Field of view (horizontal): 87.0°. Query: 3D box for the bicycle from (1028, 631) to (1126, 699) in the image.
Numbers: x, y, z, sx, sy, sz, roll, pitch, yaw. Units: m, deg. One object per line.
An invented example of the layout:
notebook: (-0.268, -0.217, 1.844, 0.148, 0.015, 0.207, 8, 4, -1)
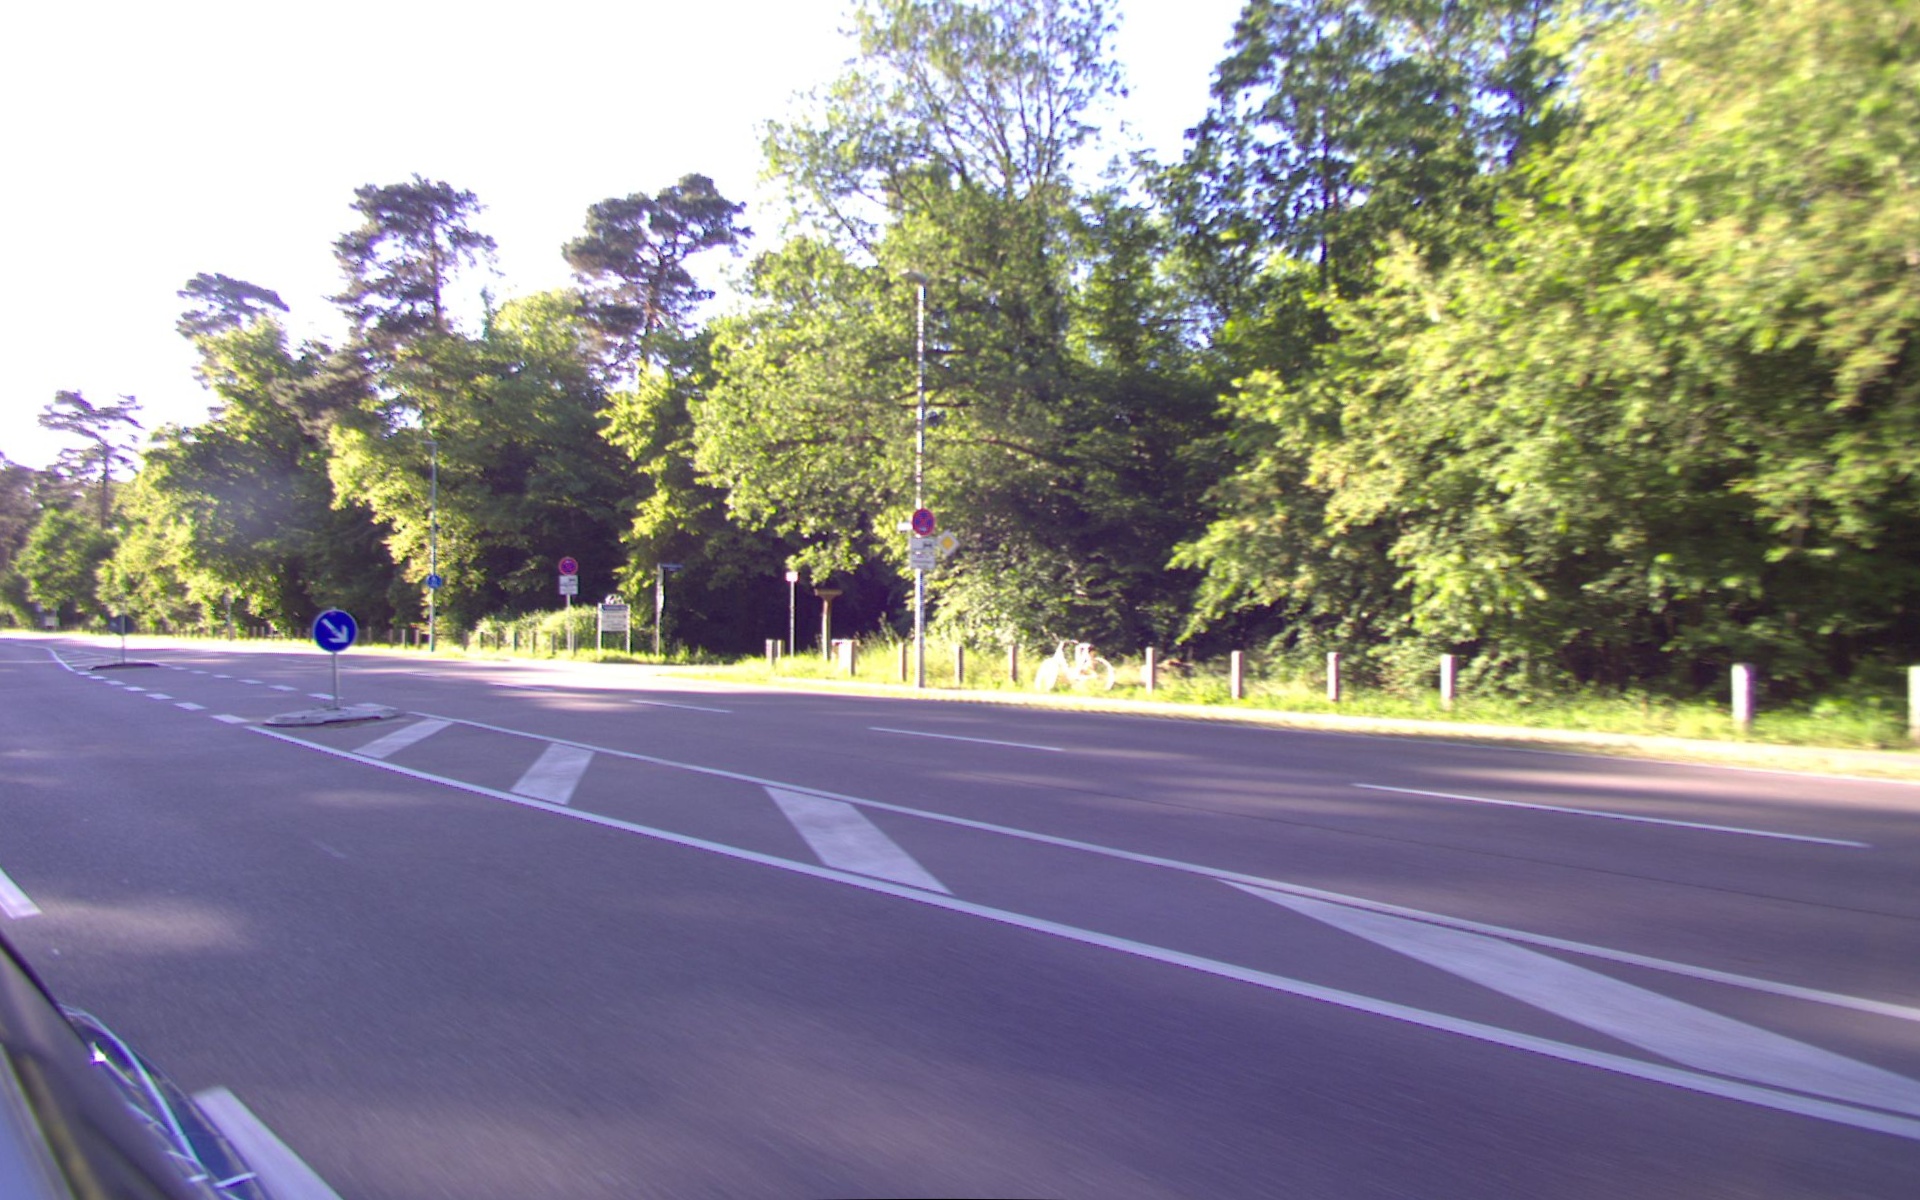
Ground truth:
bicycle: (2.154, 1.188, 18.967, 0.396, 1.140, 2.225, -2, 0, -36)
